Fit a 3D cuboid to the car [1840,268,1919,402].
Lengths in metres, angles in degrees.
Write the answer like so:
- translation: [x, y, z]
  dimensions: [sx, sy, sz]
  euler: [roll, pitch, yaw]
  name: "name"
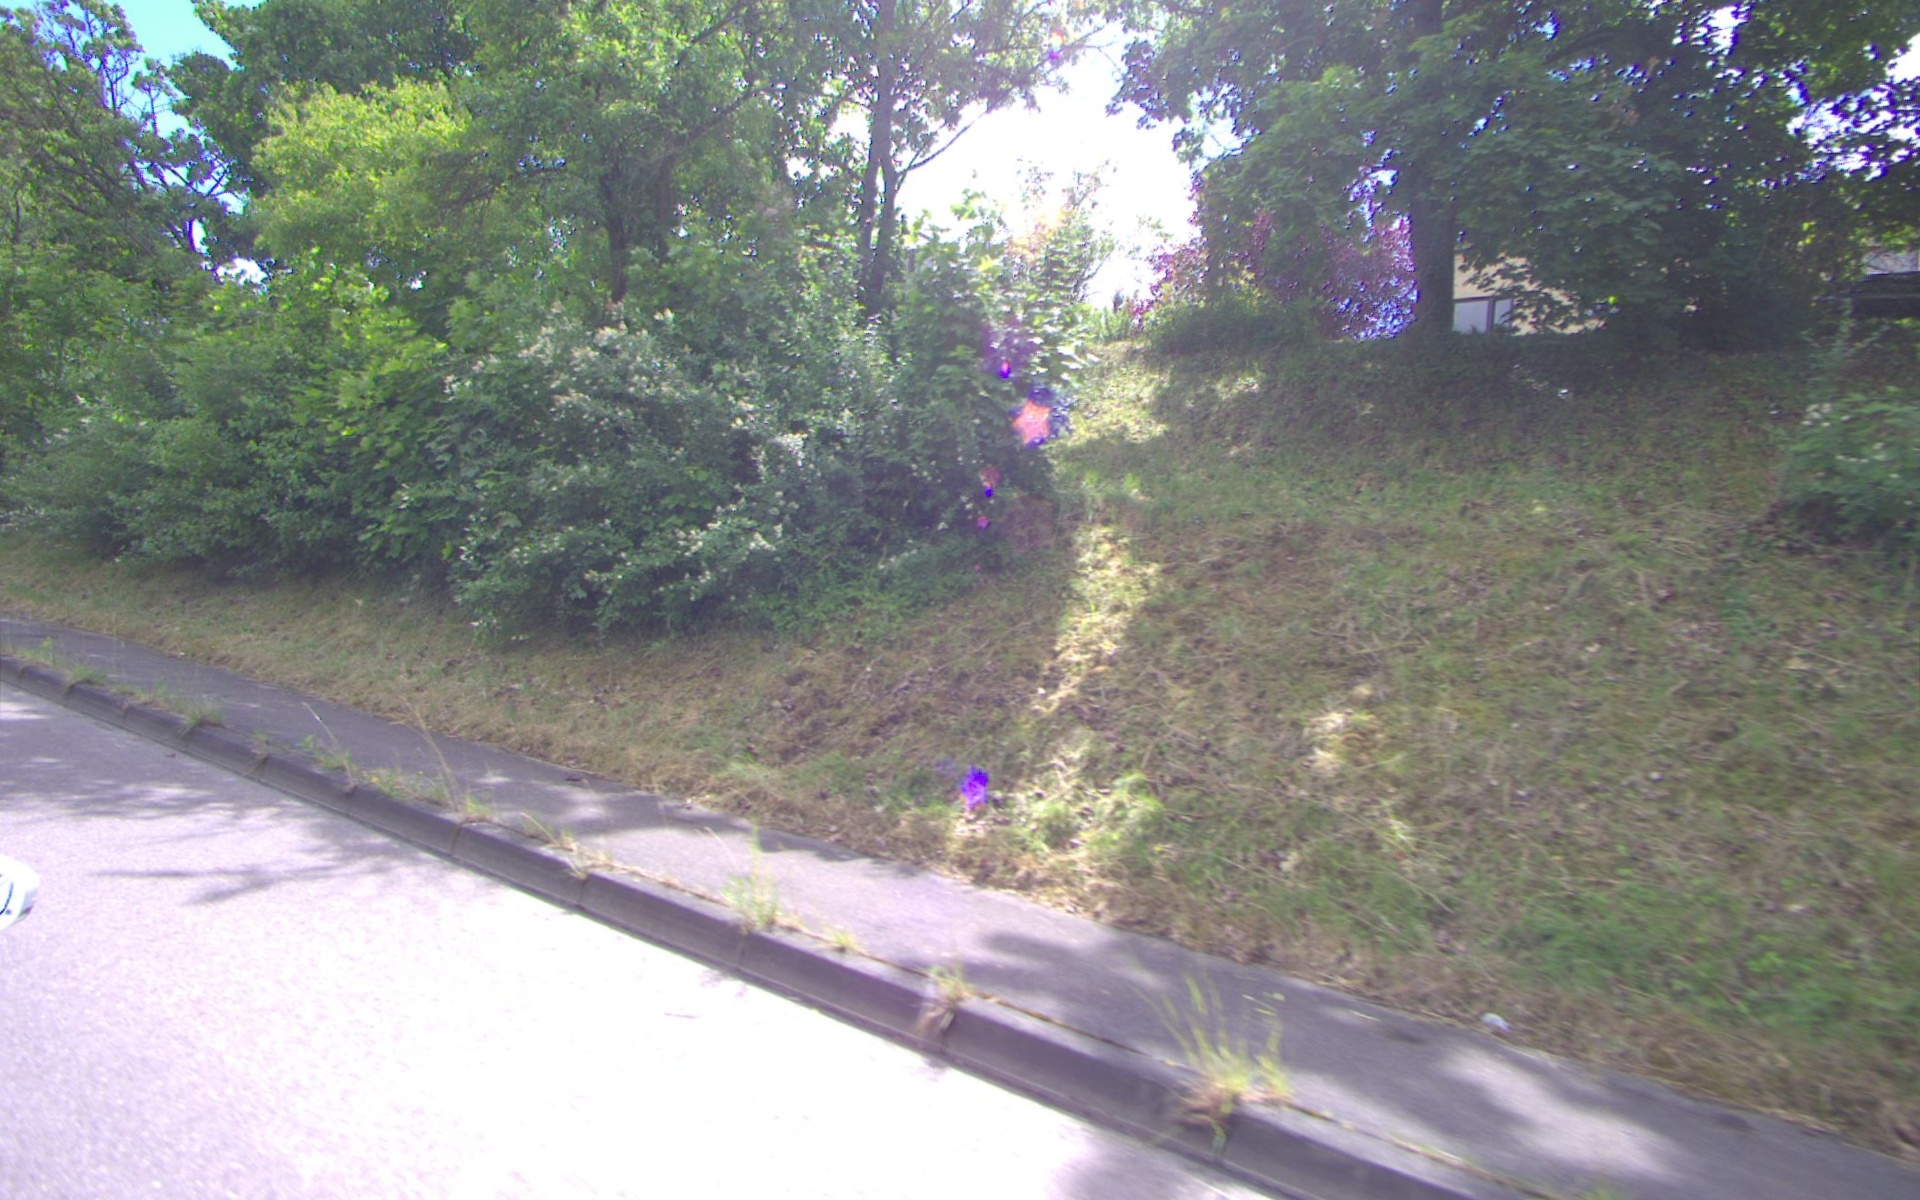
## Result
- translation: [14.442, -3.656, 13.781]
  dimensions: [3.278, 1.459, 1.452]
  euler: [6, -2, 32]
  name: "car"
